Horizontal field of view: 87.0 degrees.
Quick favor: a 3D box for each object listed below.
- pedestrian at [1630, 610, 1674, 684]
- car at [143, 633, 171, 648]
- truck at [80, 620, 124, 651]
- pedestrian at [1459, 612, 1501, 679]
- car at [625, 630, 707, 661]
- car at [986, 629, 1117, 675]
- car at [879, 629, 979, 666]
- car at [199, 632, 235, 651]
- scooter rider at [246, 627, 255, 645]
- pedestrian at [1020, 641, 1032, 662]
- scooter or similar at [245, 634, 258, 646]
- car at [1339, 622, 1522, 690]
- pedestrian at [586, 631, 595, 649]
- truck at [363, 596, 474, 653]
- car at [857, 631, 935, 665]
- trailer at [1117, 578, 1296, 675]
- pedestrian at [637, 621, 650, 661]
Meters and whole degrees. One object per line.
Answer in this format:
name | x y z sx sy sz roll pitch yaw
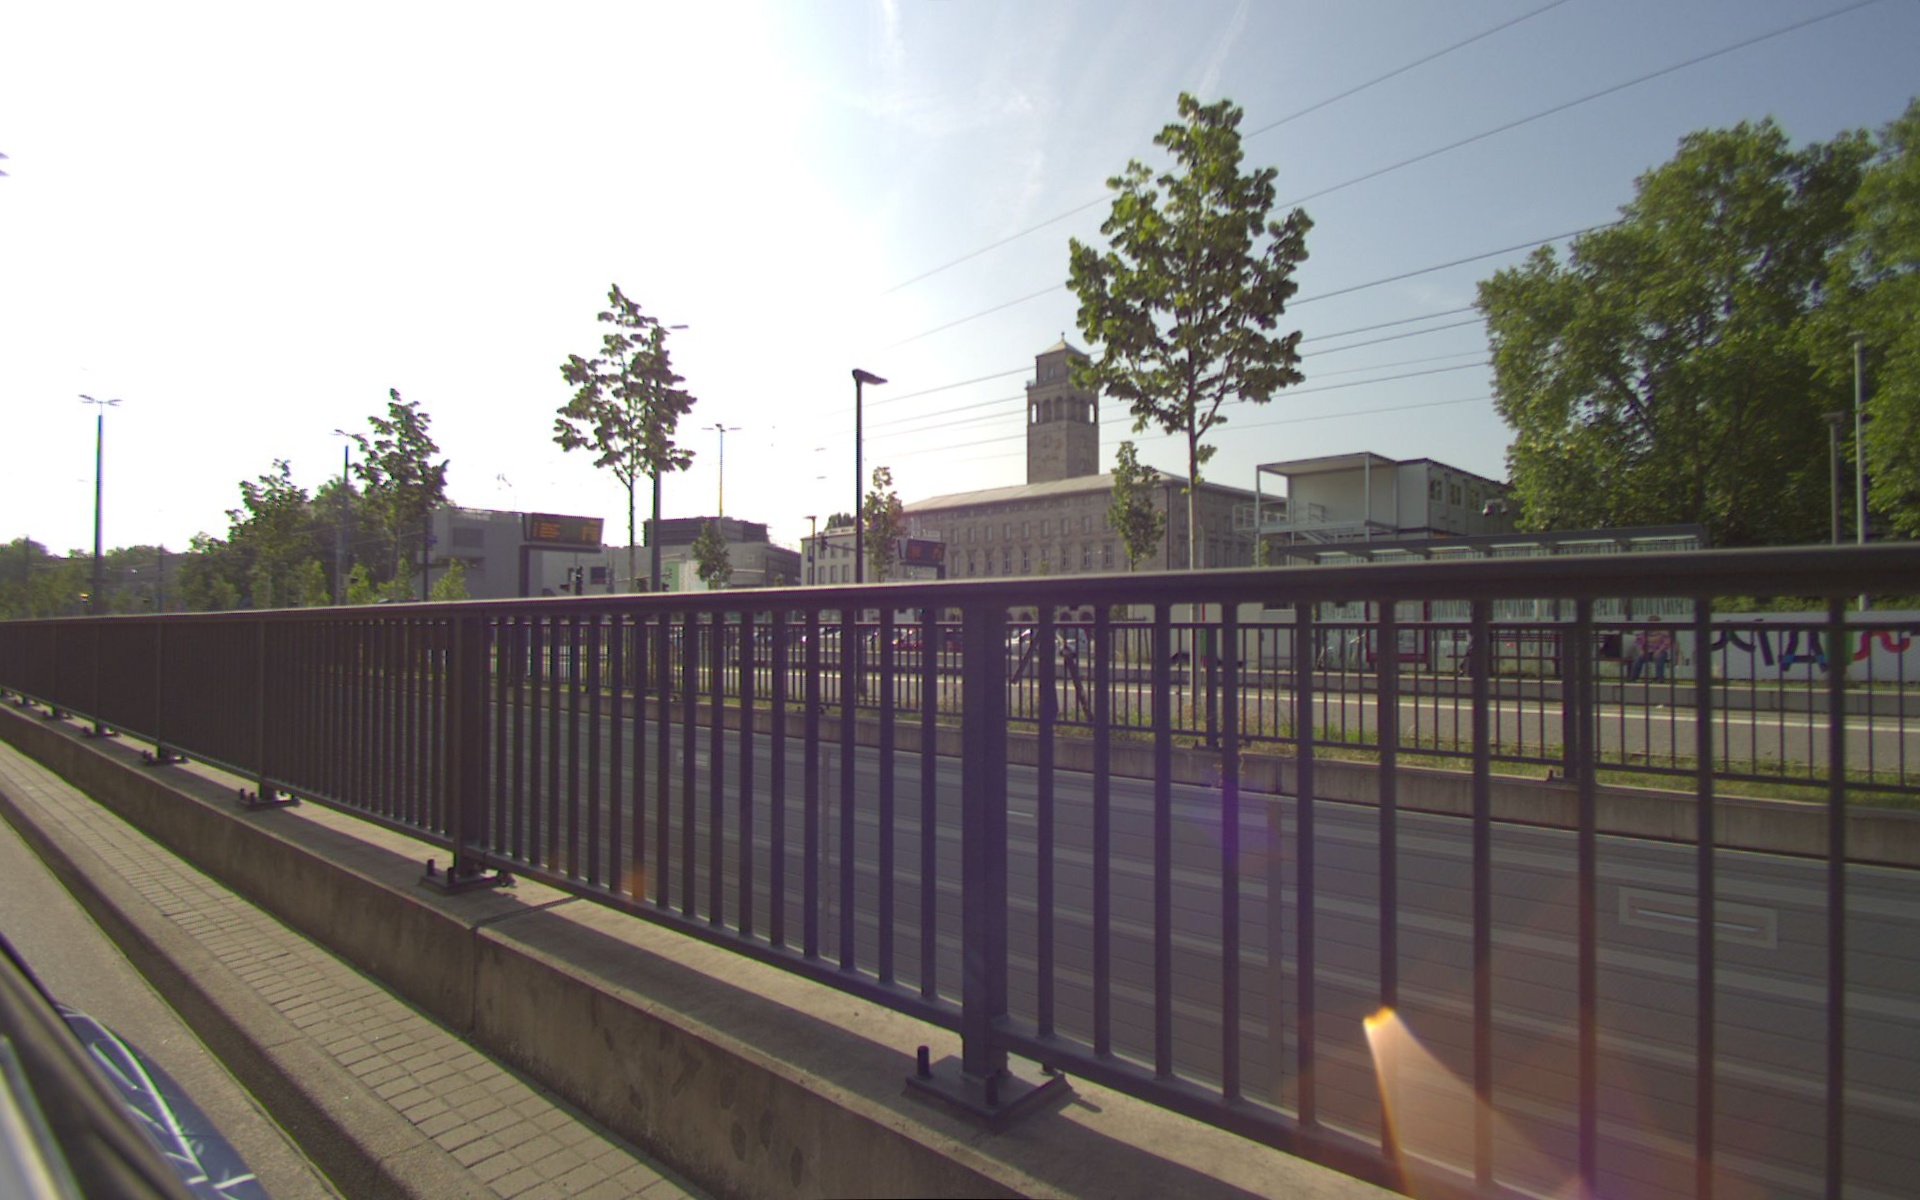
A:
pedestrian | 12.535 0.840 18.329 0.592 1.310 0.674 -2 -3 38
car | -88.956 4.496 112.074 3.995 1.614 1.623 -2 -2 39
truck | -111.308 4.651 131.223 10.419 3.838 2.940 -2 -3 42
pedestrian | 10.294 0.897 20.036 0.592 1.310 0.674 -2 -3 38
car | -15.786 2.390 54.238 4.608 1.594 1.775 -1 -2 37
car | 3.116 1.779 35.160 4.400 1.481 1.626 -2 -3 40
car | -1.230 1.844 39.573 3.693 1.372 1.704 -2 -2 38
car | -70.803 3.950 96.381 4.512 1.802 1.600 -2 -2 38
scooter rider | -68.216 3.501 97.344 0.549 1.711 0.532 -2 -3 37
pedestrian | 3.868 3.015 59.153 0.538 1.226 0.438 -2 -1 43
scooter or similar | -68.050 3.825 97.194 1.381 1.155 0.534 -2 -2 36
car | 12.634 1.463 27.309 4.149 1.675 1.702 -2 -2 42
pedestrian | -34.842 3.795 95.500 0.598 1.710 0.538 2 -3 -44
truck | -36.200 1.692 67.545 8.872 3.614 2.994 -2 -3 36
car | -2.931 2.120 45.680 3.433 1.474 1.579 -2 -2 42
trailer | 7.608 0.802 31.585 5.019 2.802 2.023 -1 -1 41
pedestrian | -13.517 1.735 43.178 0.365 1.689 0.642 1 -2 -32
